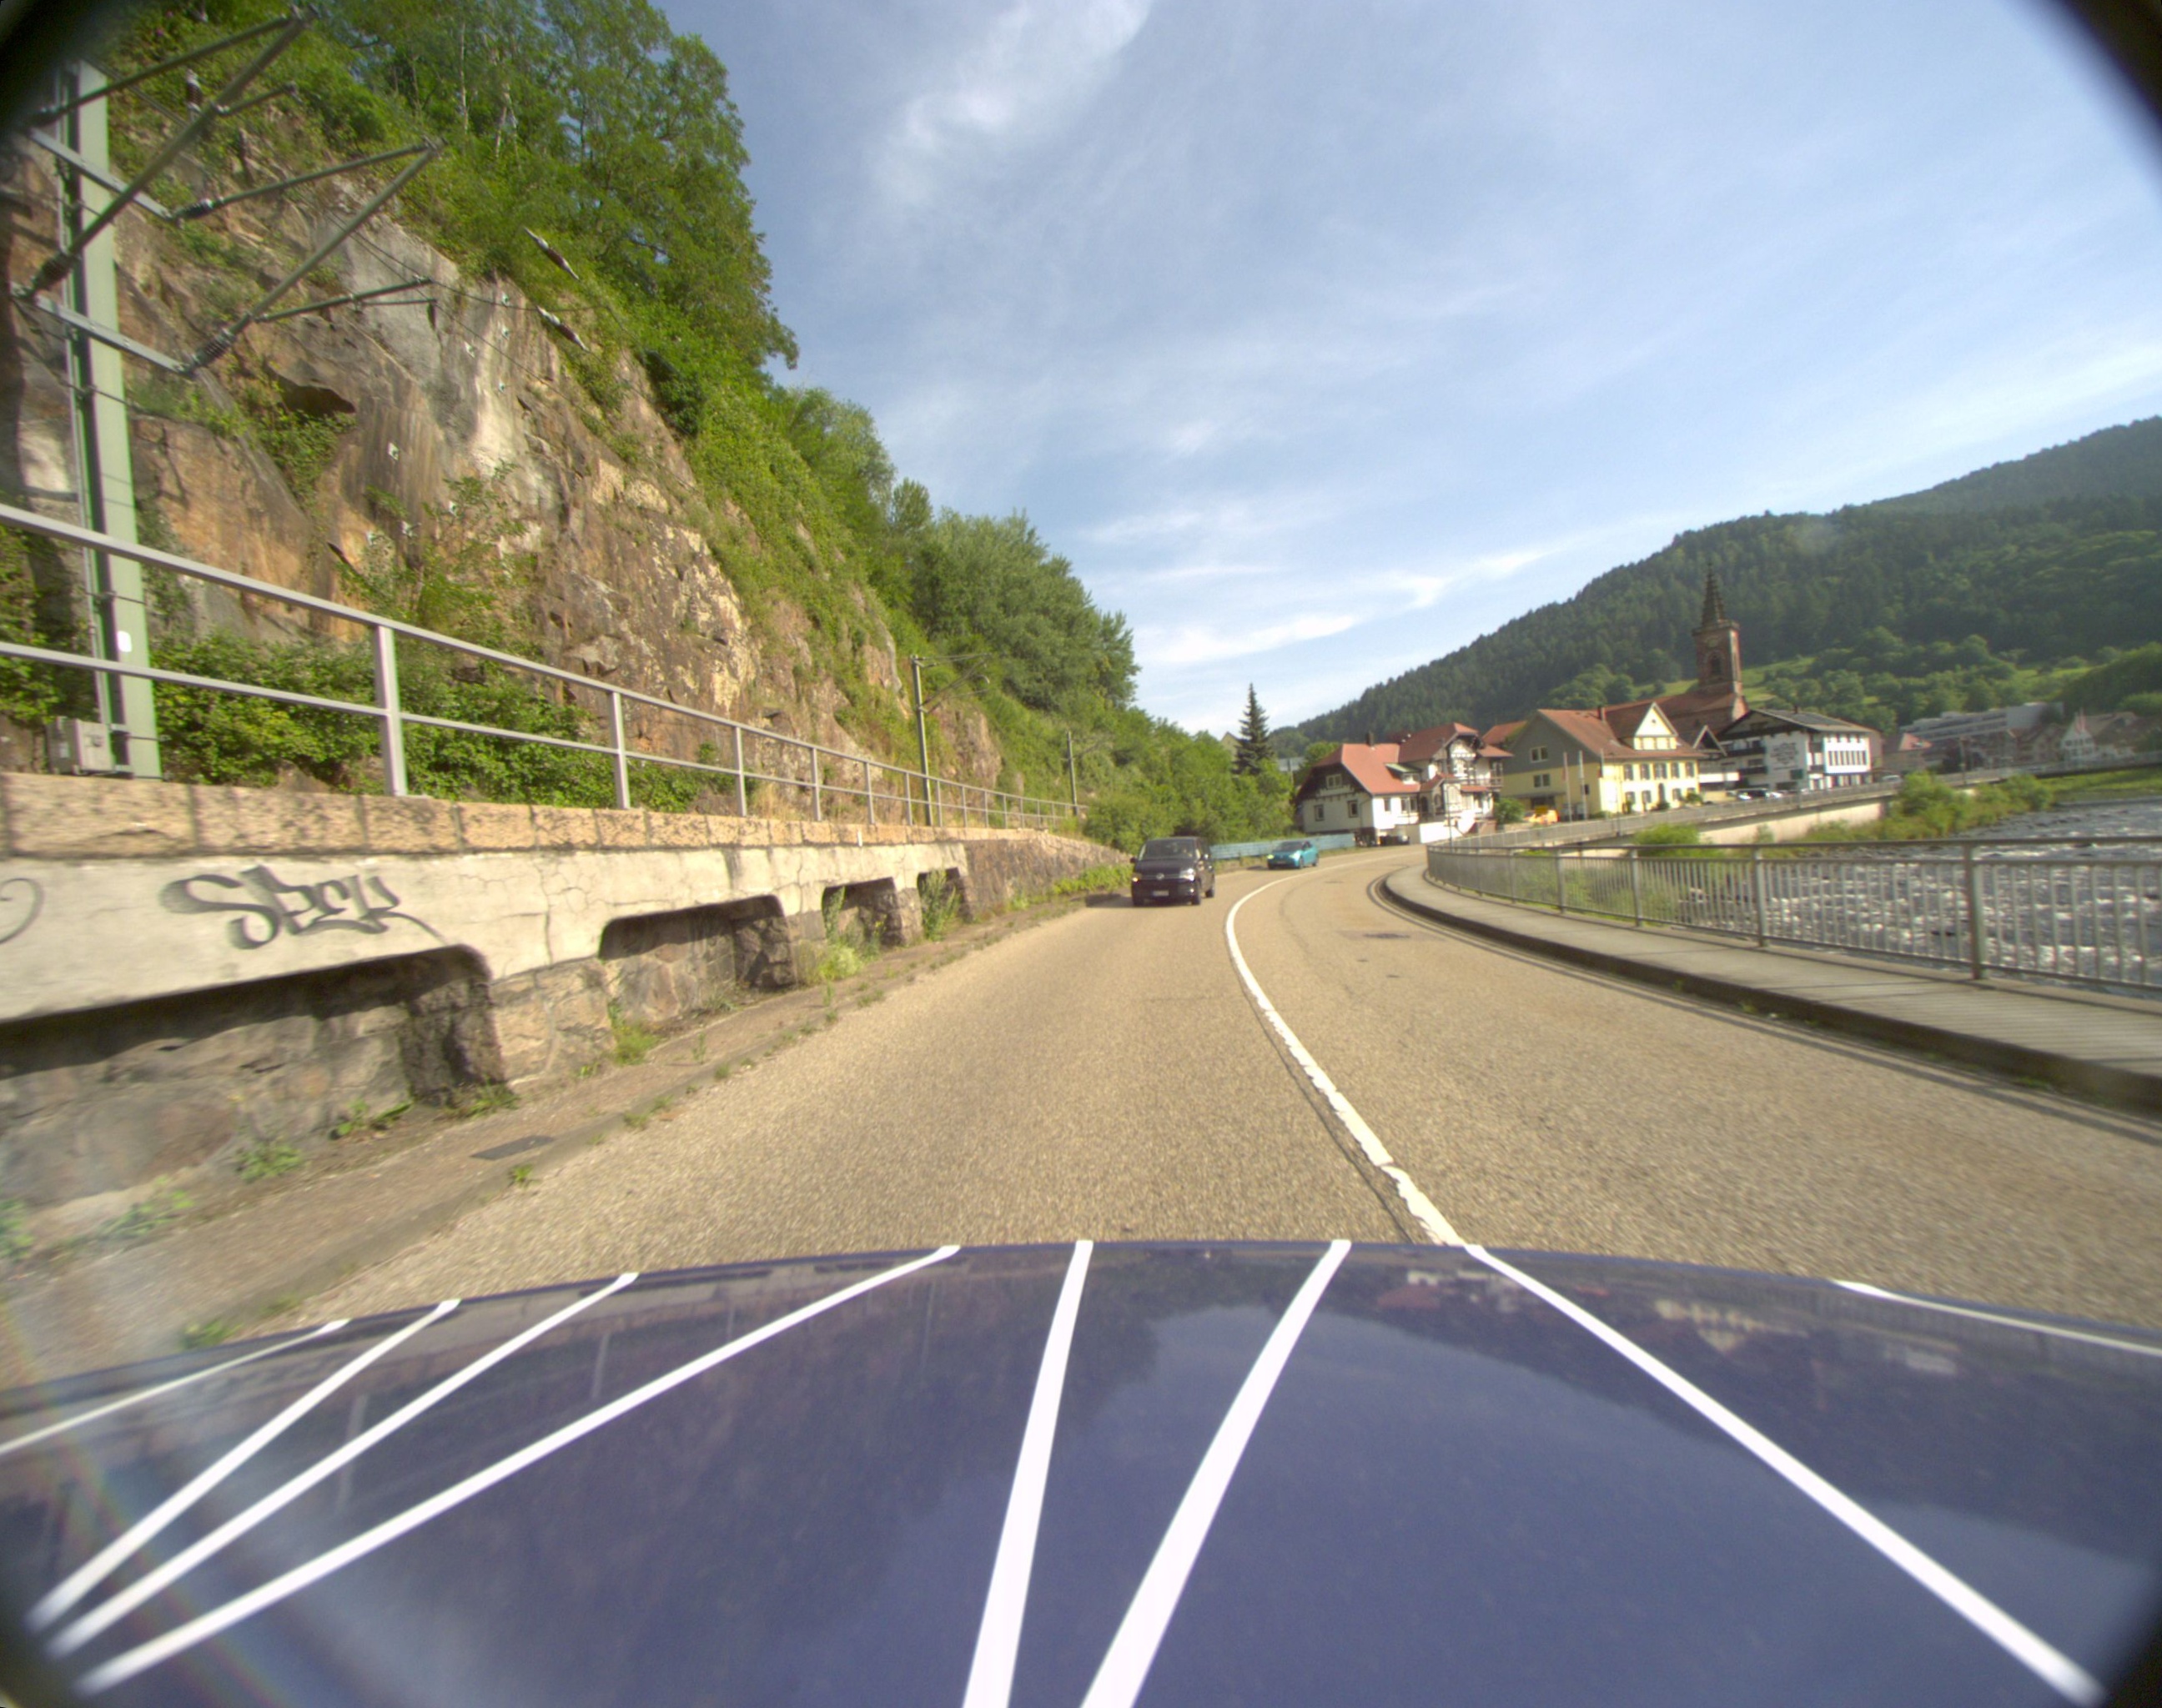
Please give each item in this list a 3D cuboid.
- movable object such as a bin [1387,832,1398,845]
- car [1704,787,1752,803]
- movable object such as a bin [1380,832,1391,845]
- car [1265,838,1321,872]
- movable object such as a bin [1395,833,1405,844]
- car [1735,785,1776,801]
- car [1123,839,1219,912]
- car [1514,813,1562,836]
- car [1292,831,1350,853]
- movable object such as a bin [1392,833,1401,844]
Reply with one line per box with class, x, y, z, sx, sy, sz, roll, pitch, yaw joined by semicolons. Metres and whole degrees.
movable object such as a bin;27.021;-1.374;65.973;0.754;1.056;0.478;-5;1;-32
car;83.839;-7.652;98.518;1.715;1.948;4.445;-5;5;-26
movable object such as a bin;26.595;-1.347;66.388;0.754;1.056;0.478;-5;1;-32
car;11.820;0.028;42.178;1.679;1.513;3.871;-2;3;35
movable object such as a bin;27.323;-1.337;65.042;0.653;0.931;0.472;-5;1;-32
car;87.108;-7.817;98.149;1.373;1.883;3.749;-6;5;-26
car;2.842;0.548;22.843;1.885;1.952;4.871;-2;1;18
car;46.744;-3.024;77.766;4.841;1.986;1.911;-4;0;-28
car;19.648;-0.952;62.318;4.320;1.460;1.840;-4;0;22
movable object such as a bin;27.223;-1.306;65.561;0.548;0.895;0.368;-5;1;-39
